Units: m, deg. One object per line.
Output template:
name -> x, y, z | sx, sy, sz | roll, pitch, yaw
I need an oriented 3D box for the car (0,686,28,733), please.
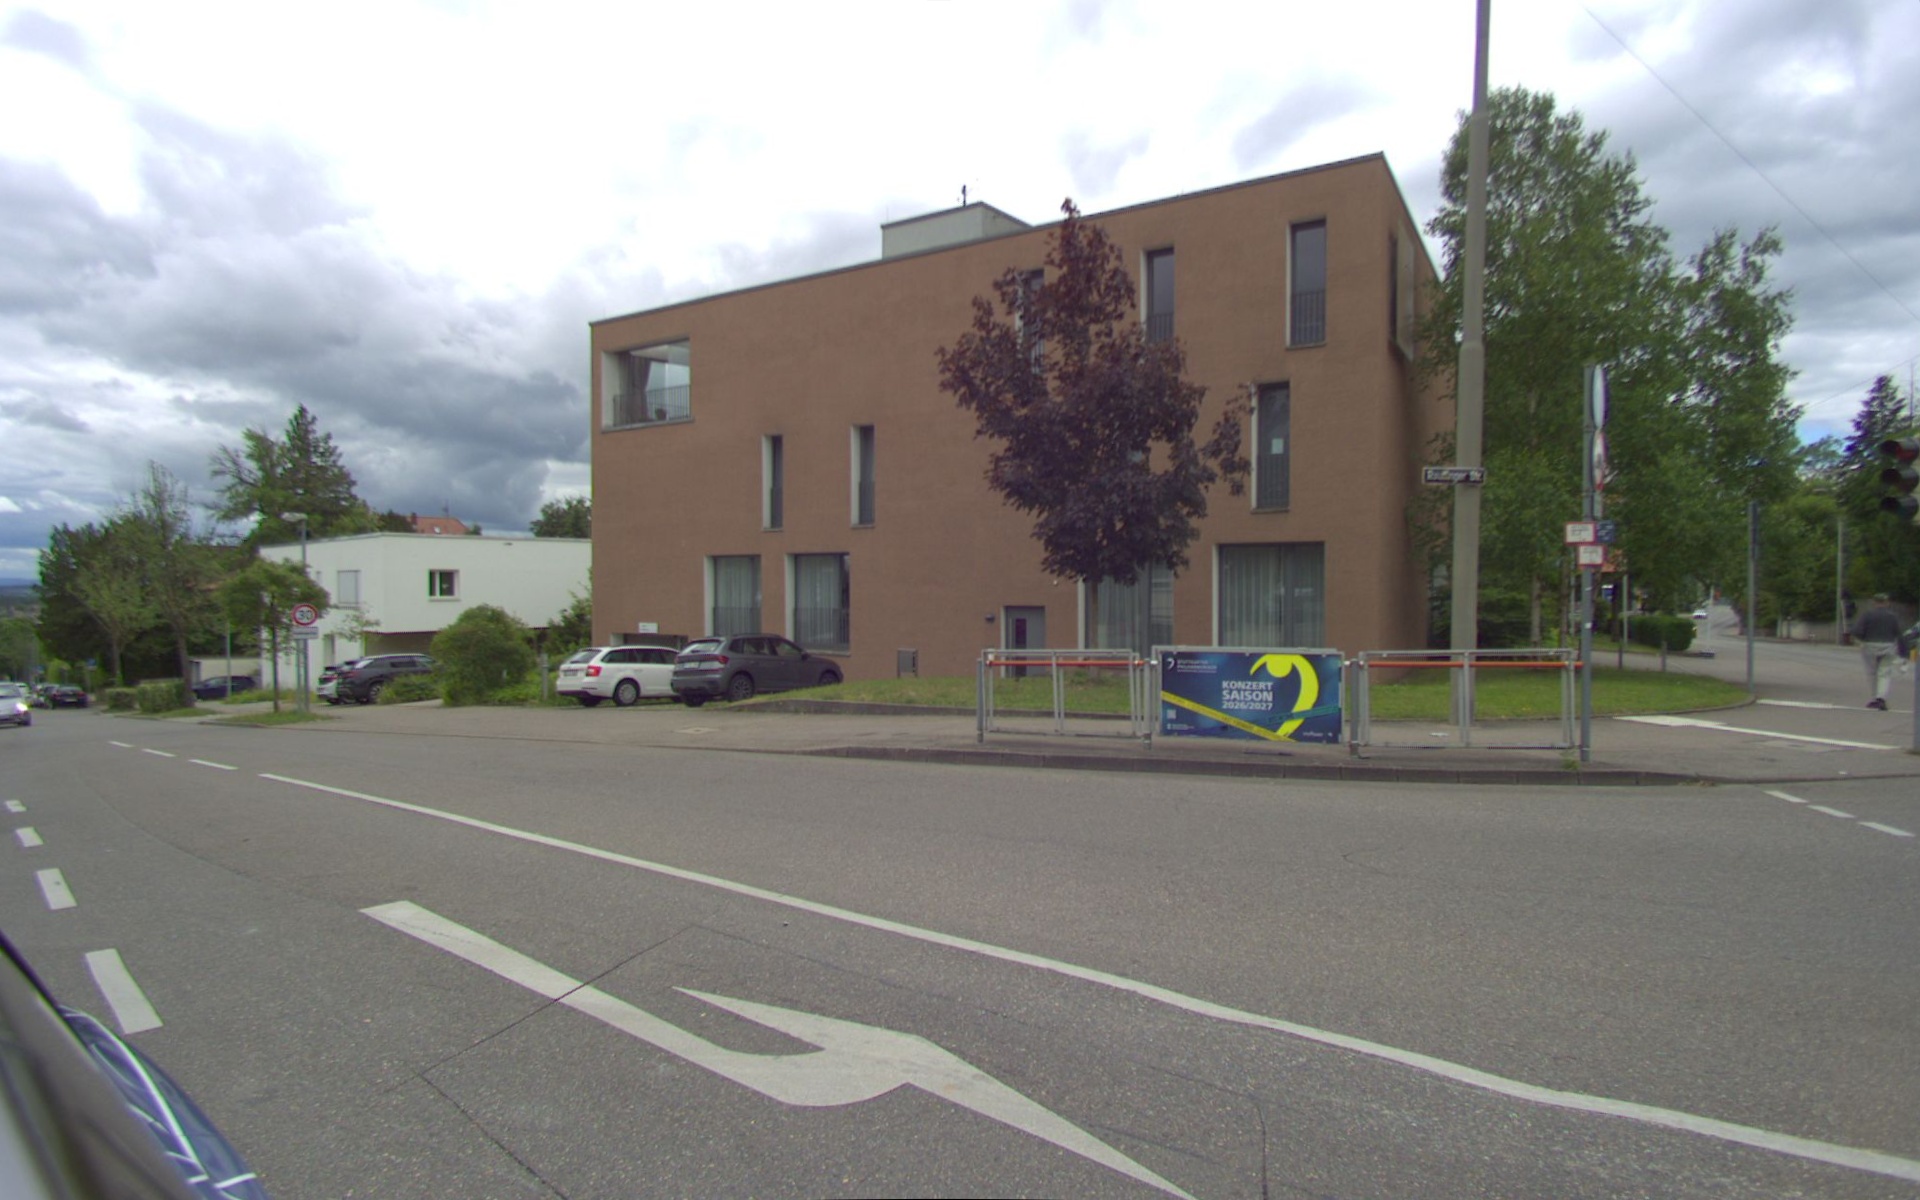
car -> -33.649, 3.831, 35.233 | 1.701, 1.497, 4.003 | 0, -4, -44

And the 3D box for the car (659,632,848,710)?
car -> -4.512, 1.549, 22.536 | 1.724, 1.497, 3.950 | -5, -4, 37

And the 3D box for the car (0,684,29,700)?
car -> -95.907, 9.292, 102.358 | 4.362, 1.432, 1.861 | -3, -3, 38

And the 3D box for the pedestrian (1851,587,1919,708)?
pedestrian -> 13.090, 0.664, 14.247 | 0.682, 1.646, 0.731 | -2, -3, 35

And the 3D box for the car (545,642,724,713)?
car -> -7.996, 1.884, 25.125 | 1.724, 1.497, 3.950 | -5, -4, 37

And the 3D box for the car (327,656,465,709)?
car -> -19.975, 2.898, 35.939 | 1.793, 1.608, 3.943 | -6, -4, 43

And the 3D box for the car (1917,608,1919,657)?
car -> 36.803, 1.220, 36.841 | 1.913, 1.895, 5.084 | 0, -1, 33

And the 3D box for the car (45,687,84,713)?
car -> -54.935, 6.146, 62.075 | 1.638, 1.432, 4.003 | 0, -4, -44

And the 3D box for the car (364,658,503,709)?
car -> -18.232, 2.877, 35.154 | 1.727, 1.497, 3.943 | -6, -4, 43

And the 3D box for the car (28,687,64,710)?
car -> -61.557, 6.624, 68.152 | 1.638, 1.432, 4.371 | 0, -4, -44

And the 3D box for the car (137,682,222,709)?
car -> -46.972, 5.735, 60.939 | 3.939, 1.296, 1.665 | 0, -4, -43
